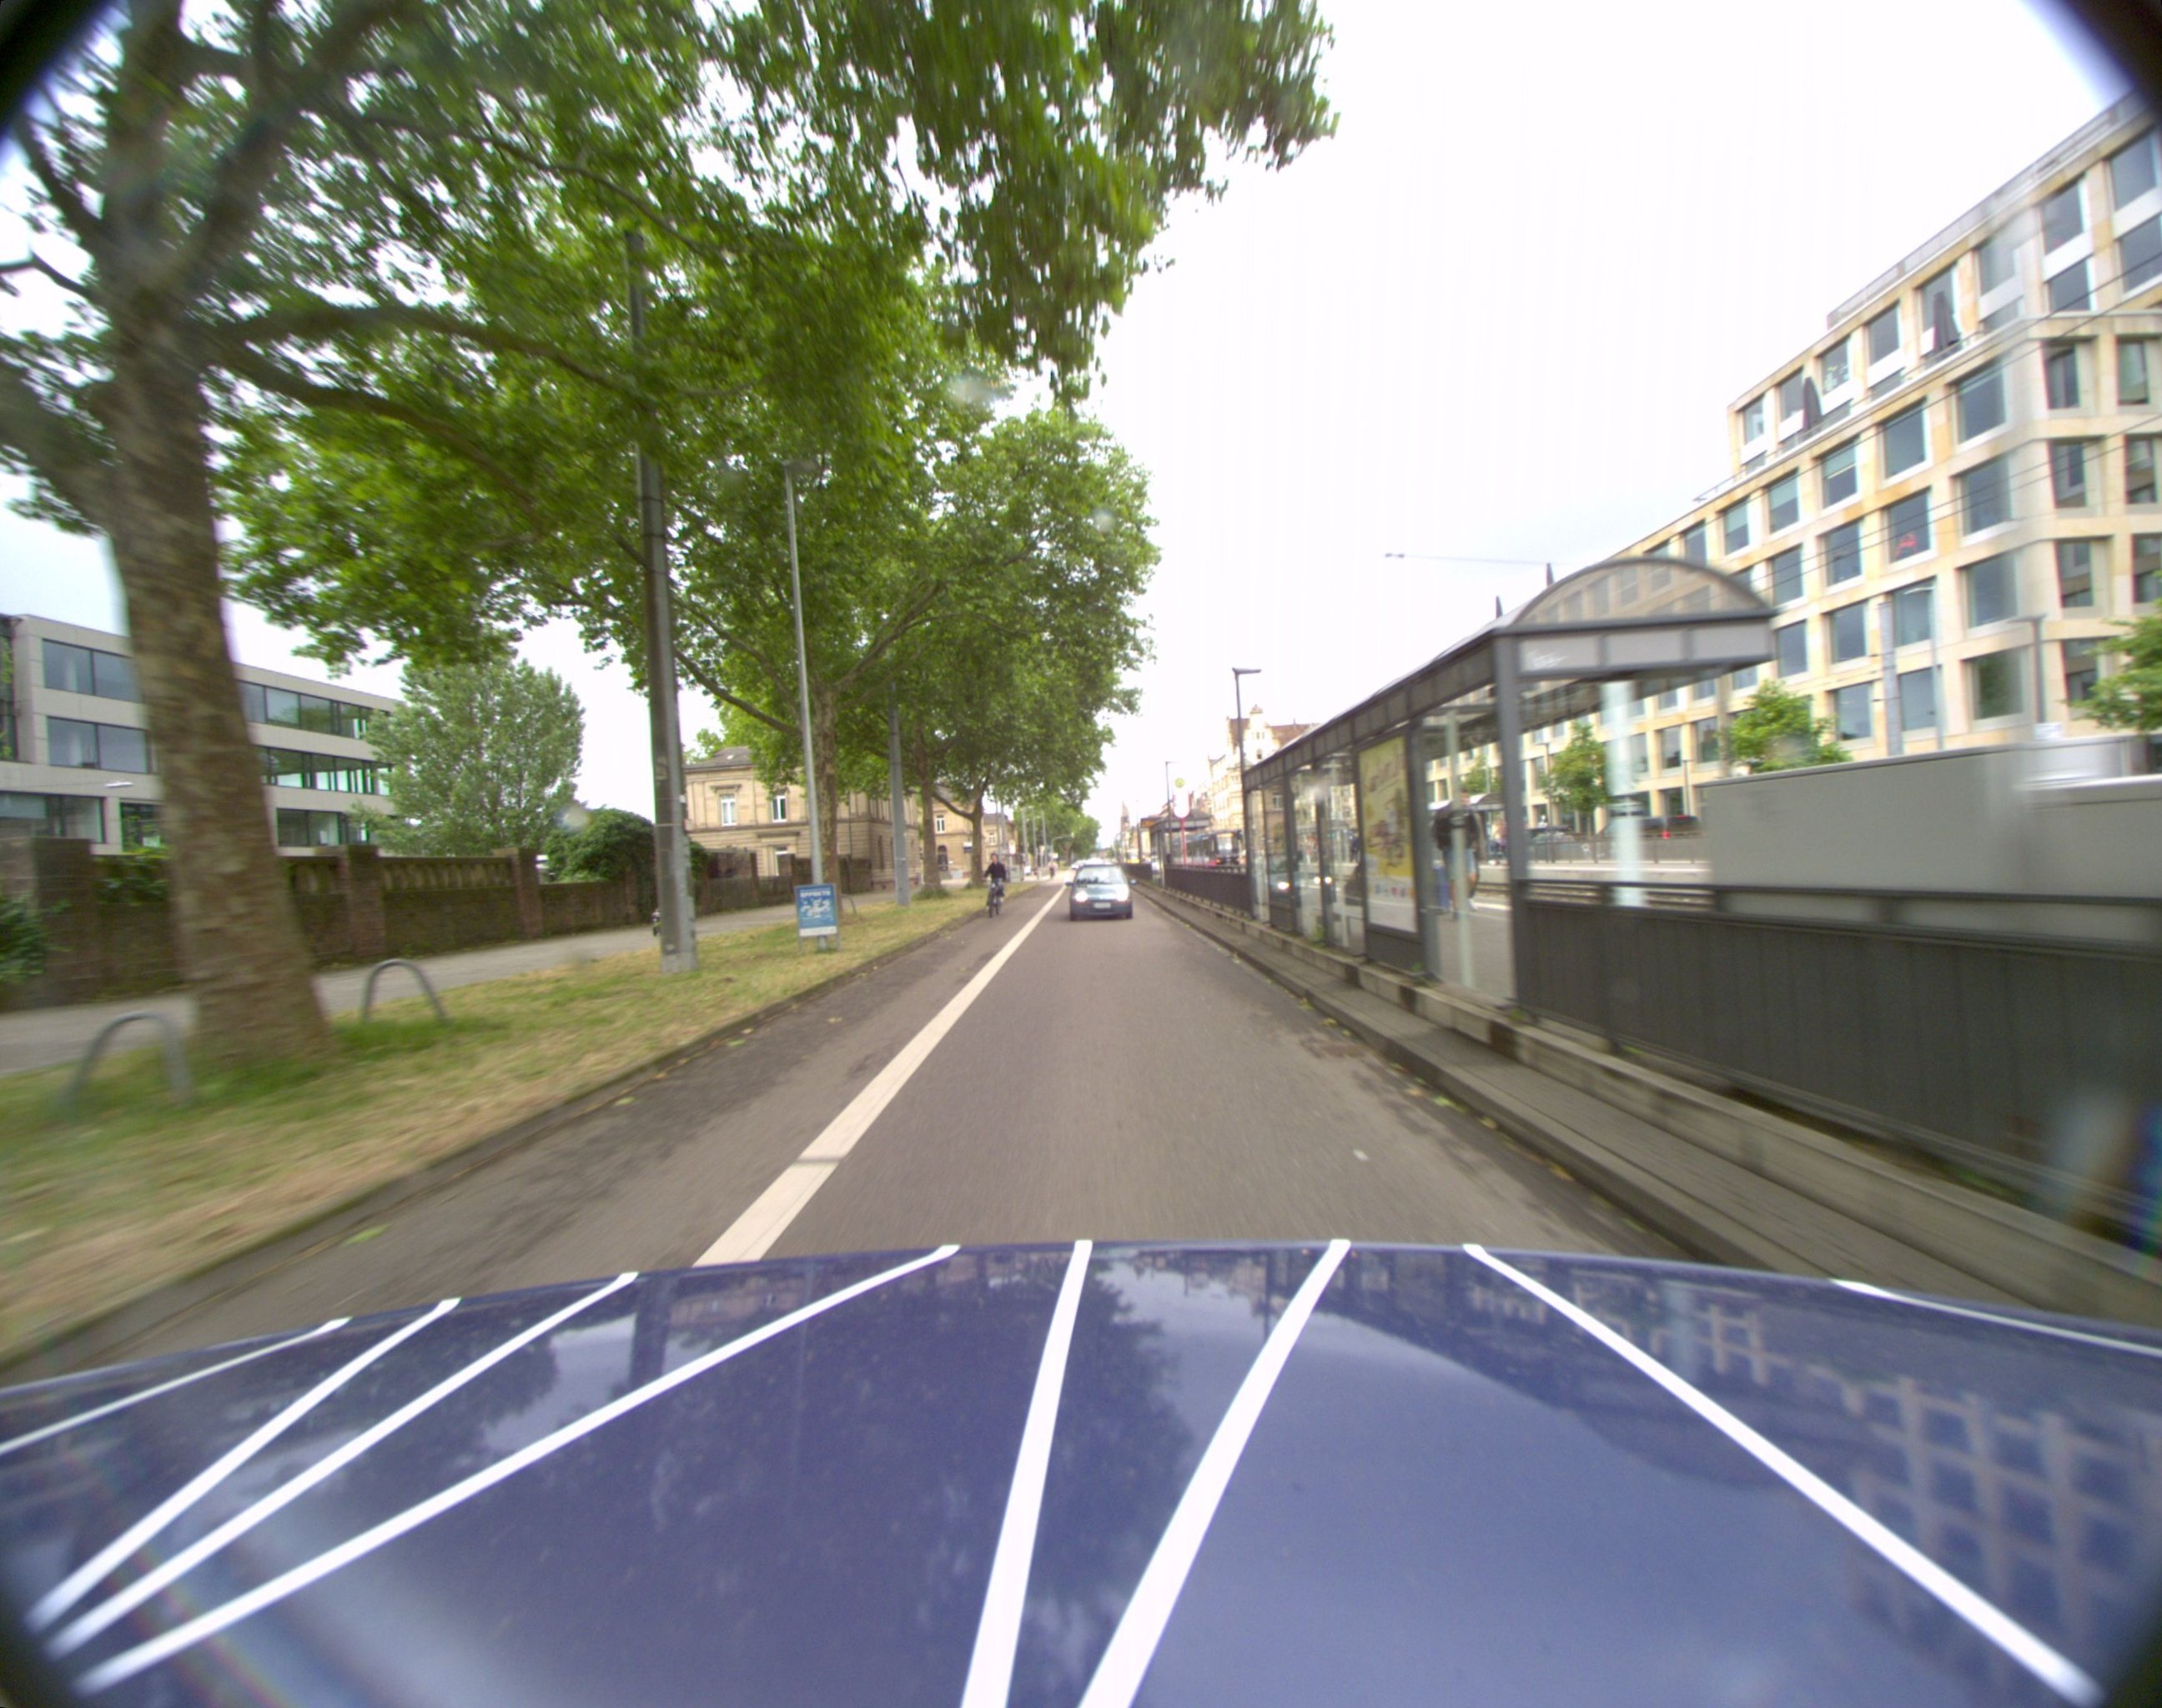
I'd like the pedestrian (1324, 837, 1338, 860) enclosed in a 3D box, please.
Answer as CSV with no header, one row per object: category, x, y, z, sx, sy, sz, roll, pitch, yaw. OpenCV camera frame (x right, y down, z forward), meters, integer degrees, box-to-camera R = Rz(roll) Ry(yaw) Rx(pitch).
pedestrian,17.233,-0.391,52.422,0.589,1.578,0.596,-4,1,-18

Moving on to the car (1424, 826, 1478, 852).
car,26.406,-1.041,54.355,1.998,1.652,4.000,-3,1,3

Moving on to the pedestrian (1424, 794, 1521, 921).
pedestrian,5.841,0.047,11.396,0.672,1.783,1.112,-4,1,-12

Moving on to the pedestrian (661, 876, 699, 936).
pedestrian,-11.184,1.441,21.224,0.559,1.623,0.670,-3,1,7

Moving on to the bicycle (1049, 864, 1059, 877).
bicycle,-2.572,1.552,72.271,0.814,1.163,2.276,-3,1,-1

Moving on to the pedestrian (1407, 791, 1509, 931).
pedestrian,5.149,0.085,10.433,0.672,1.783,1.112,-4,1,-8

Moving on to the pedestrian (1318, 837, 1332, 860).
pedestrian,17.058,-0.388,53.113,0.589,1.578,0.596,-4,1,-18

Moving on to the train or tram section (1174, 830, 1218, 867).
train or tram section,12.532,-0.617,83.707,2.862,3.619,11.698,-3,1,0

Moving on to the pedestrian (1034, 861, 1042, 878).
pedestrian,-4.112,1.489,72.667,0.552,1.520,0.639,-3,1,18

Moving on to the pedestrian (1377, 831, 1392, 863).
pedestrian,15.585,-0.364,39.023,0.536,1.598,0.565,-3,1,8

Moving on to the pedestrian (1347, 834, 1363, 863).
pedestrian,16.772,-0.347,46.534,0.589,1.759,0.596,-4,1,-36

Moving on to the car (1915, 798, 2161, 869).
car,25.997,-0.536,20.803,1.998,1.652,4.000,-3,1,3

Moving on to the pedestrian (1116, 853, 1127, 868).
pedestrian,4.437,0.706,83.158,0.862,1.633,0.651,-4,1,-41

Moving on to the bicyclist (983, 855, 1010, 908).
bicyclist,-2.479,0.797,22.337,0.642,1.522,0.664,-3,1,-1

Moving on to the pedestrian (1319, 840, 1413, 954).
pedestrian,3.449,0.504,9.242,0.837,1.296,0.613,-3,1,-1

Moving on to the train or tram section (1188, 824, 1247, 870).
train or tram section,12.512,-0.637,71.036,2.862,3.670,13.519,-3,1,0

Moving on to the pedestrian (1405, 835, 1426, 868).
pedestrian,16.739,-0.116,38.003,0.580,1.598,0.655,-4,1,-32

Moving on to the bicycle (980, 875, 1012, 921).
bicycle,-2.468,1.250,22.220,0.654,1.143,2.282,-3,1,-1

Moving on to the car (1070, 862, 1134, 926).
car,0.587,1.009,20.511,1.534,1.464,3.353,-2,1,2

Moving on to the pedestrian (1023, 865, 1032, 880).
pedestrian,-6.293,2.192,88.788,0.720,1.668,1.000,-3,1,11

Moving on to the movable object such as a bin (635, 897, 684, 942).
movable object such as a bin,-11.255,1.742,20.315,0.613,1.105,1.015,-3,0,7

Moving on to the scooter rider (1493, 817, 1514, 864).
scooter rider,15.251,-0.485,27.438,0.404,1.640,0.554,-3,1,1

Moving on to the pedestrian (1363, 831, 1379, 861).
pedestrian,18.281,-0.483,47.878,0.700,1.844,0.721,-3,1,8

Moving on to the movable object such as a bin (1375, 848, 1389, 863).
movable object such as a bin,15.680,0.087,39.544,0.536,0.743,0.469,-3,1,8

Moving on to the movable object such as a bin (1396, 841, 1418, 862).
movable object such as a bin,16.181,-0.131,37.729,0.622,1.015,0.721,-4,1,-32

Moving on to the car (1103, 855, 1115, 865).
car,5.089,1.129,139.844,1.869,1.630,3.775,-3,1,-1

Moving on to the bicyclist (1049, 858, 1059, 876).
bicyclist,-2.592,1.227,72.371,0.812,1.591,1.189,-3,1,-2

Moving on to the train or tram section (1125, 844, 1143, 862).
train or tram section,10.703,-0.263,153.699,2.651,3.417,13.618,-3,1,1

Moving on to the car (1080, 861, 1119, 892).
car,1.026,1.221,42.714,1.998,1.443,4.100,-3,1,1

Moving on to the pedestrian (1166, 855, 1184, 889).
pedestrian,3.910,0.743,31.753,0.612,1.364,0.600,-3,1,1

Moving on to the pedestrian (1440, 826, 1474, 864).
pedestrian,17.263,-0.424,34.920,1.040,1.676,0.939,-3,1,4

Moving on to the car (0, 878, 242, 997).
car,-20.235,1.662,15.245,4.359,2.002,1.999,-3,1,-2

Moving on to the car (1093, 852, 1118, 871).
car,2.109,0.594,65.096,1.998,1.443,4.100,-3,1,1

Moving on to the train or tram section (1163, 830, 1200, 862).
train or tram section,12.465,-1.041,95.426,2.862,3.619,11.764,-3,1,0

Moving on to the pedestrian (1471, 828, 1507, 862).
pedestrian,17.647,-0.390,32.876,1.040,1.364,0.939,-3,1,4

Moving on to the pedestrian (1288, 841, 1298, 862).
pedestrian,16.018,-0.180,57.350,0.596,1.578,0.589,-3,1,8

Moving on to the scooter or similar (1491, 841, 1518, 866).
scooter or similar,15.281,-0.022,27.440,0.388,0.844,1.004,-3,1,0
